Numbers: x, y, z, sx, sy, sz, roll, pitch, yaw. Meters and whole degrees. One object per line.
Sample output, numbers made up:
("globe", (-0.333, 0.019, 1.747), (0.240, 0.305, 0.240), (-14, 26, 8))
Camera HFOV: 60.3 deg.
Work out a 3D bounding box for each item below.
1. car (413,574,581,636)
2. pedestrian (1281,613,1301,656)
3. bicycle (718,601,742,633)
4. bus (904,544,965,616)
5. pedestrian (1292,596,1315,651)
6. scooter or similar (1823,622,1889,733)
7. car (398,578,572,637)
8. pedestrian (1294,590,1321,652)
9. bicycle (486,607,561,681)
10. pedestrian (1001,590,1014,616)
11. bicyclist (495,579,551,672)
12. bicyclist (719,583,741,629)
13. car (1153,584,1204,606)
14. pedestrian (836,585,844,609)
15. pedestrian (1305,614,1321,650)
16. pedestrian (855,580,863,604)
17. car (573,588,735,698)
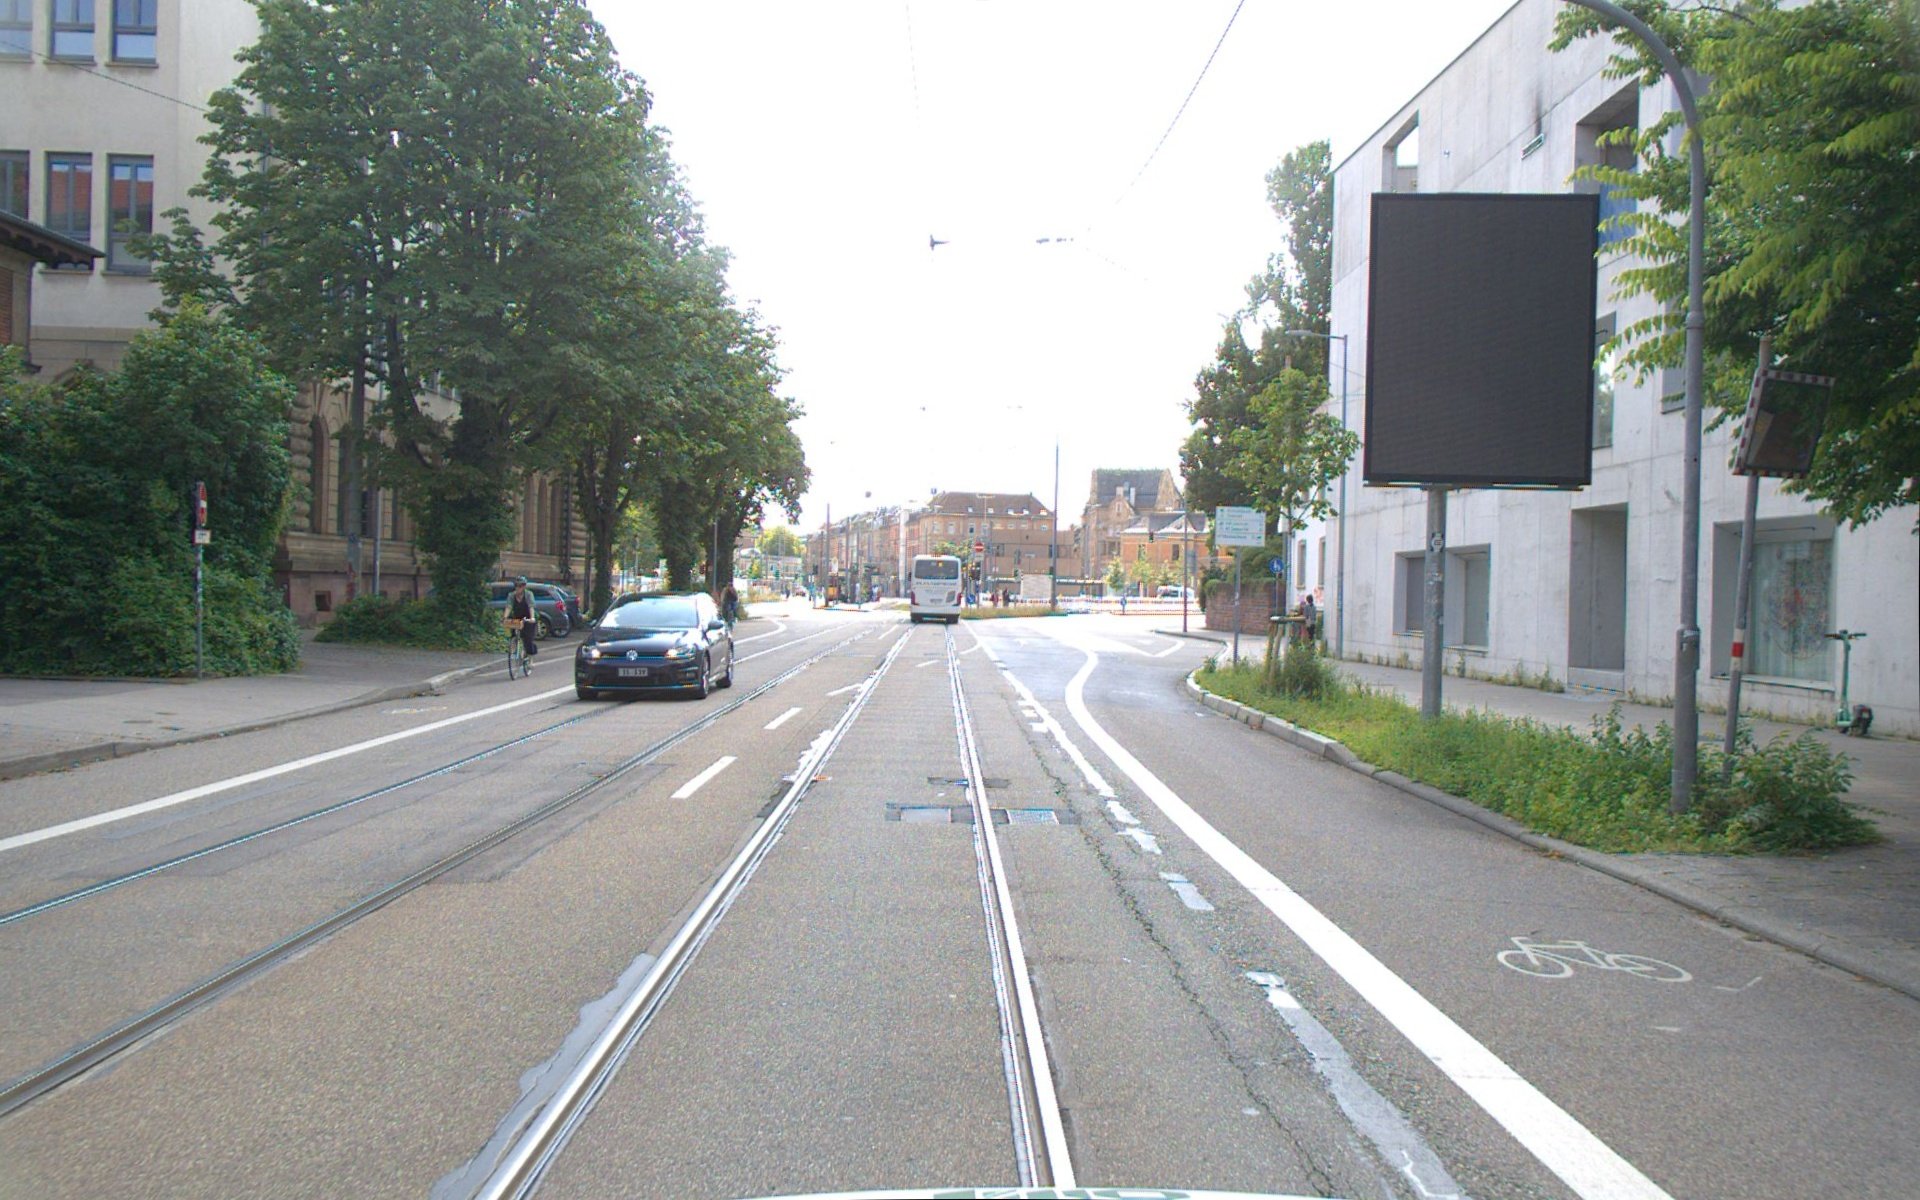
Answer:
("car", (-13.050, 0.149, 46.672), (4.187, 1.577, 1.906), (2, 0, -32))
("pedestrian", (9.790, 1.013, 48.879), (0.417, 1.221, 0.401), (-1, 2, -33))
("bicycle", (-7.776, 0.562, 56.003), (0.685, 1.035, 1.818), (0, 0, -4))
("bus", (-1.381, -0.946, 86.702), (2.859, 3.386, 12.202), (2, 0, -1))
("pedestrian", (10.238, 0.695, 49.343), (0.510, 1.608, 0.547), (-1, 1, -11))
("scooter or similar", (10.151, 0.857, 18.759), (0.315, 1.202, 1.149), (1, 0, 12))
("car", (-12.629, 0.205, 44.050), (4.180, 1.472, 1.777), (1, 0, -29))
("pedestrian", (10.021, 0.601, 47.679), (0.670, 1.754, 0.747), (0, 1, 5))
("bicycle", (-7.361, 0.723, 27.969), (0.590, 1.116, 2.023), (-4, 1, 2))
("pedestrian", (3.467, 0.221, 120.582), (0.599, 1.918, 0.793), (1, 0, 27))
("bicyclist", (-7.382, 0.420, 27.978), (0.587, 1.518, 0.882), (-4, 0, 2))
("bicyclist", (-7.781, 0.201, 55.993), (0.677, 1.546, 0.867), (0, 0, -4))
("car", (23.871, -0.537, 180.953), (2.277, 2.359, 5.516), (1, 0, -37))
("pedestrian", (-9.883, -0.264, 136.342), (0.598, 1.918, 0.794), (1, 0, 0))
("pedestrian", (10.347, 0.946, 48.512), (0.336, 1.028, 0.396), (-1, 1, -10))
("pedestrian", (-8.058, -0.639, 131.790), (0.598, 1.918, 0.794), (1, 0, 0))
("car", (-4.266, 0.557, 23.602), (1.654, 1.426, 3.929), (0, 0, -1))
